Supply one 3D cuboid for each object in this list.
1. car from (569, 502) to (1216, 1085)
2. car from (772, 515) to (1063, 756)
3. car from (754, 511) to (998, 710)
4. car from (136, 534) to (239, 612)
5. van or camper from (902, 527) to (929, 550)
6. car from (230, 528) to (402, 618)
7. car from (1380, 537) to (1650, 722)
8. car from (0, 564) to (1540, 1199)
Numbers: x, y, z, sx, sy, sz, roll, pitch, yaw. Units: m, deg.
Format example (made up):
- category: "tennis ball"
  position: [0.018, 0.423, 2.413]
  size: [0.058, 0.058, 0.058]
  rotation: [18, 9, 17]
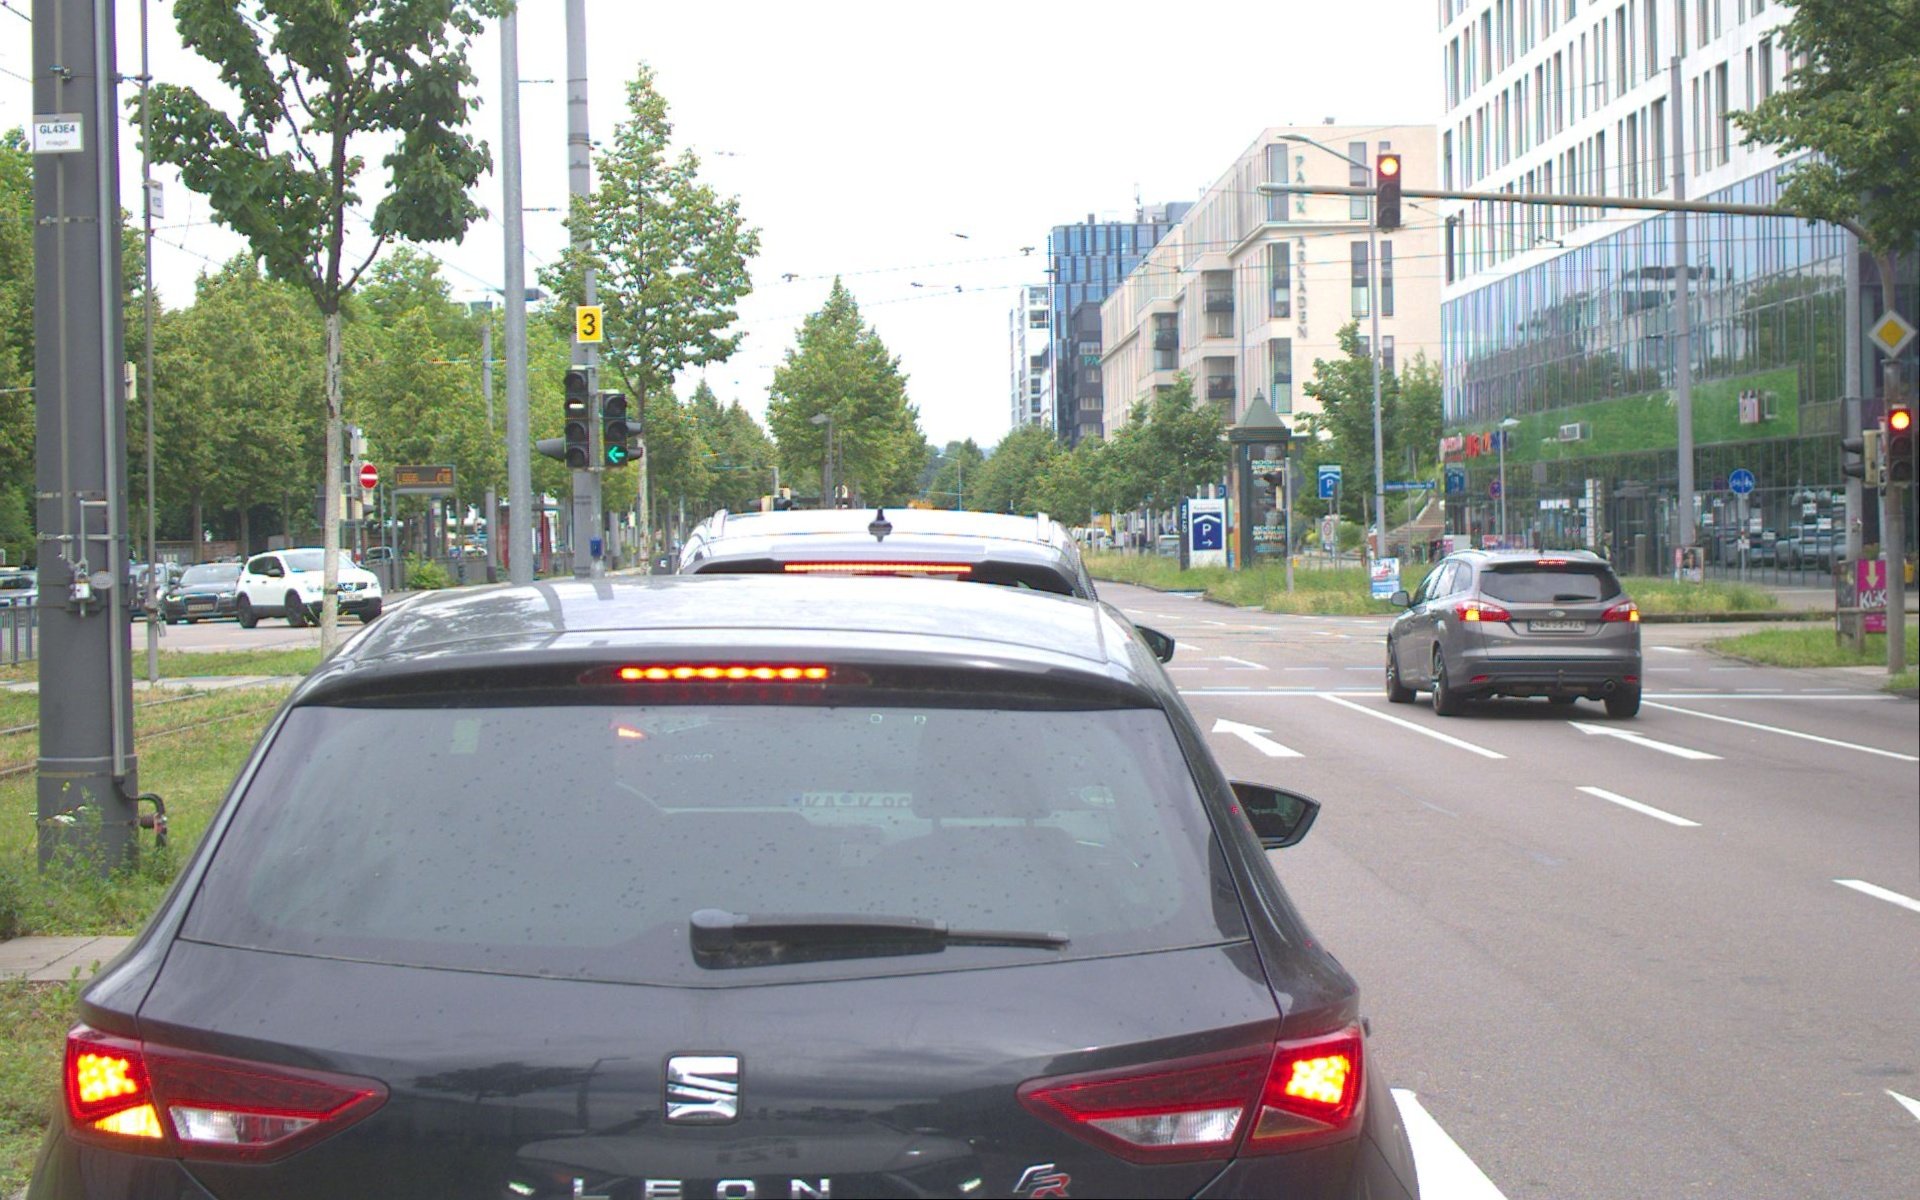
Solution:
- category: "car"
  position: [-0.214, 0.504, 11.708]
  size: [1.802, 1.619, 4.000]
  rotation: [-1, 1, -1]
- category: "car"
  position: [-0.240, 0.198, 26.091]
  size: [1.994, 1.676, 4.000]
  rotation: [0, 1, 2]
- category: "car"
  position: [-0.692, 0.040, 31.151]
  size: [1.993, 1.676, 4.000]
  rotation: [0, 1, 2]
- category: "car"
  position: [-18.128, -0.648, 80.579]
  size: [1.993, 1.744, 4.001]
  rotation: [-1, 1, -17]
- category: "van or camper"
  position: [-3.384, -4.697, 261.057]
  size: [1.993, 1.609, 4.789]
  rotation: [0, 2, 0]
- category: "car"
  position: [-13.147, -0.555, 70.003]
  size: [1.994, 1.744, 4.200]
  rotation: [-2, 1, -33]
- category: "car"
  position: [5.006, 0.209, 31.522]
  size: [1.748, 1.494, 4.269]
  rotation: [0, 2, 0]
- category: "car"
  position: [-0.339, 0.681, 5.483]
  size: [1.743, 1.412, 4.000]
  rotation: [0, 1, -1]
